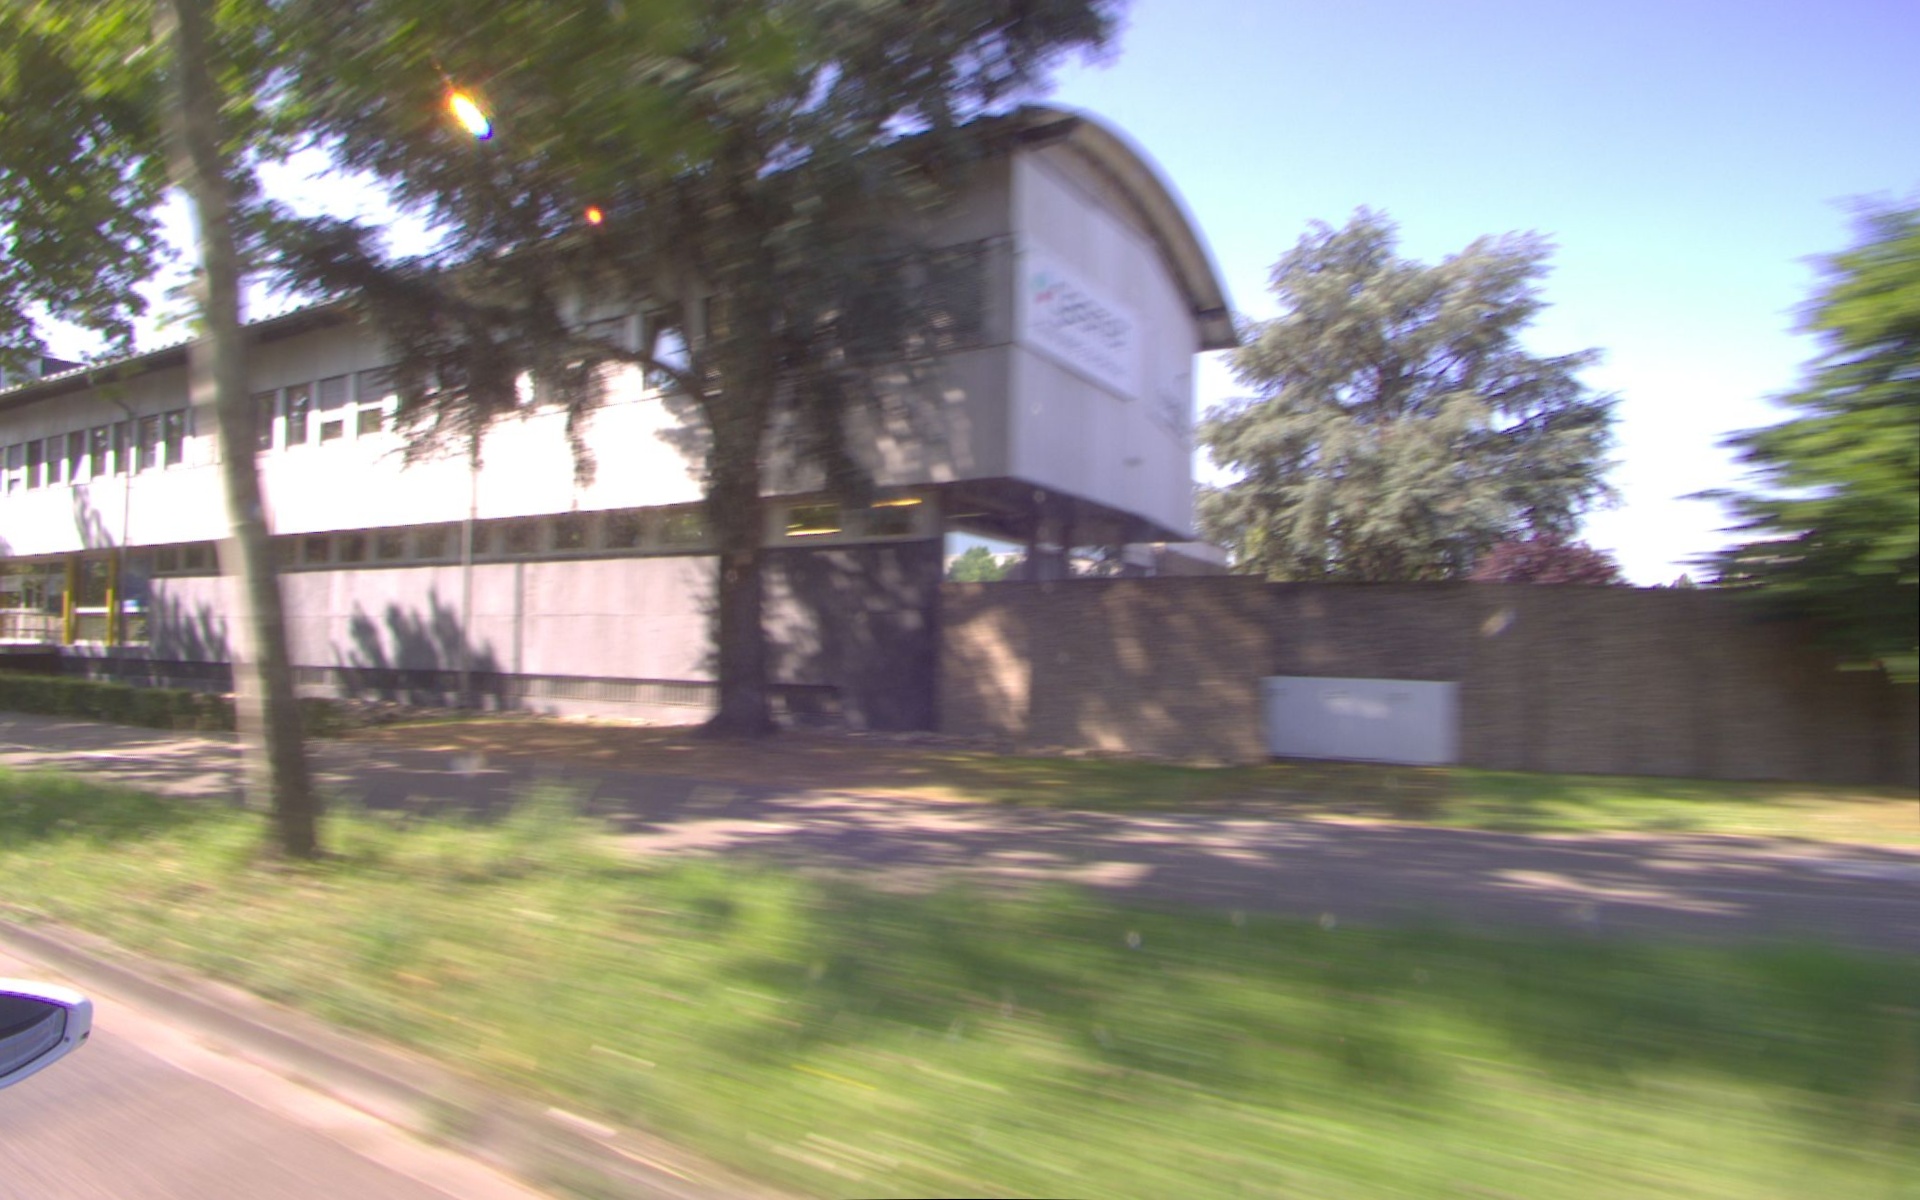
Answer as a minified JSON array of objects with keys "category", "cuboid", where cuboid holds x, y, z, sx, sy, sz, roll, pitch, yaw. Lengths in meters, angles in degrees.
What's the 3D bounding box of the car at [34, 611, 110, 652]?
[{"category":"car","cuboid":[-37.951,1.360,42.883,1.656,1.683,3.732,0,-2,-29]}]
